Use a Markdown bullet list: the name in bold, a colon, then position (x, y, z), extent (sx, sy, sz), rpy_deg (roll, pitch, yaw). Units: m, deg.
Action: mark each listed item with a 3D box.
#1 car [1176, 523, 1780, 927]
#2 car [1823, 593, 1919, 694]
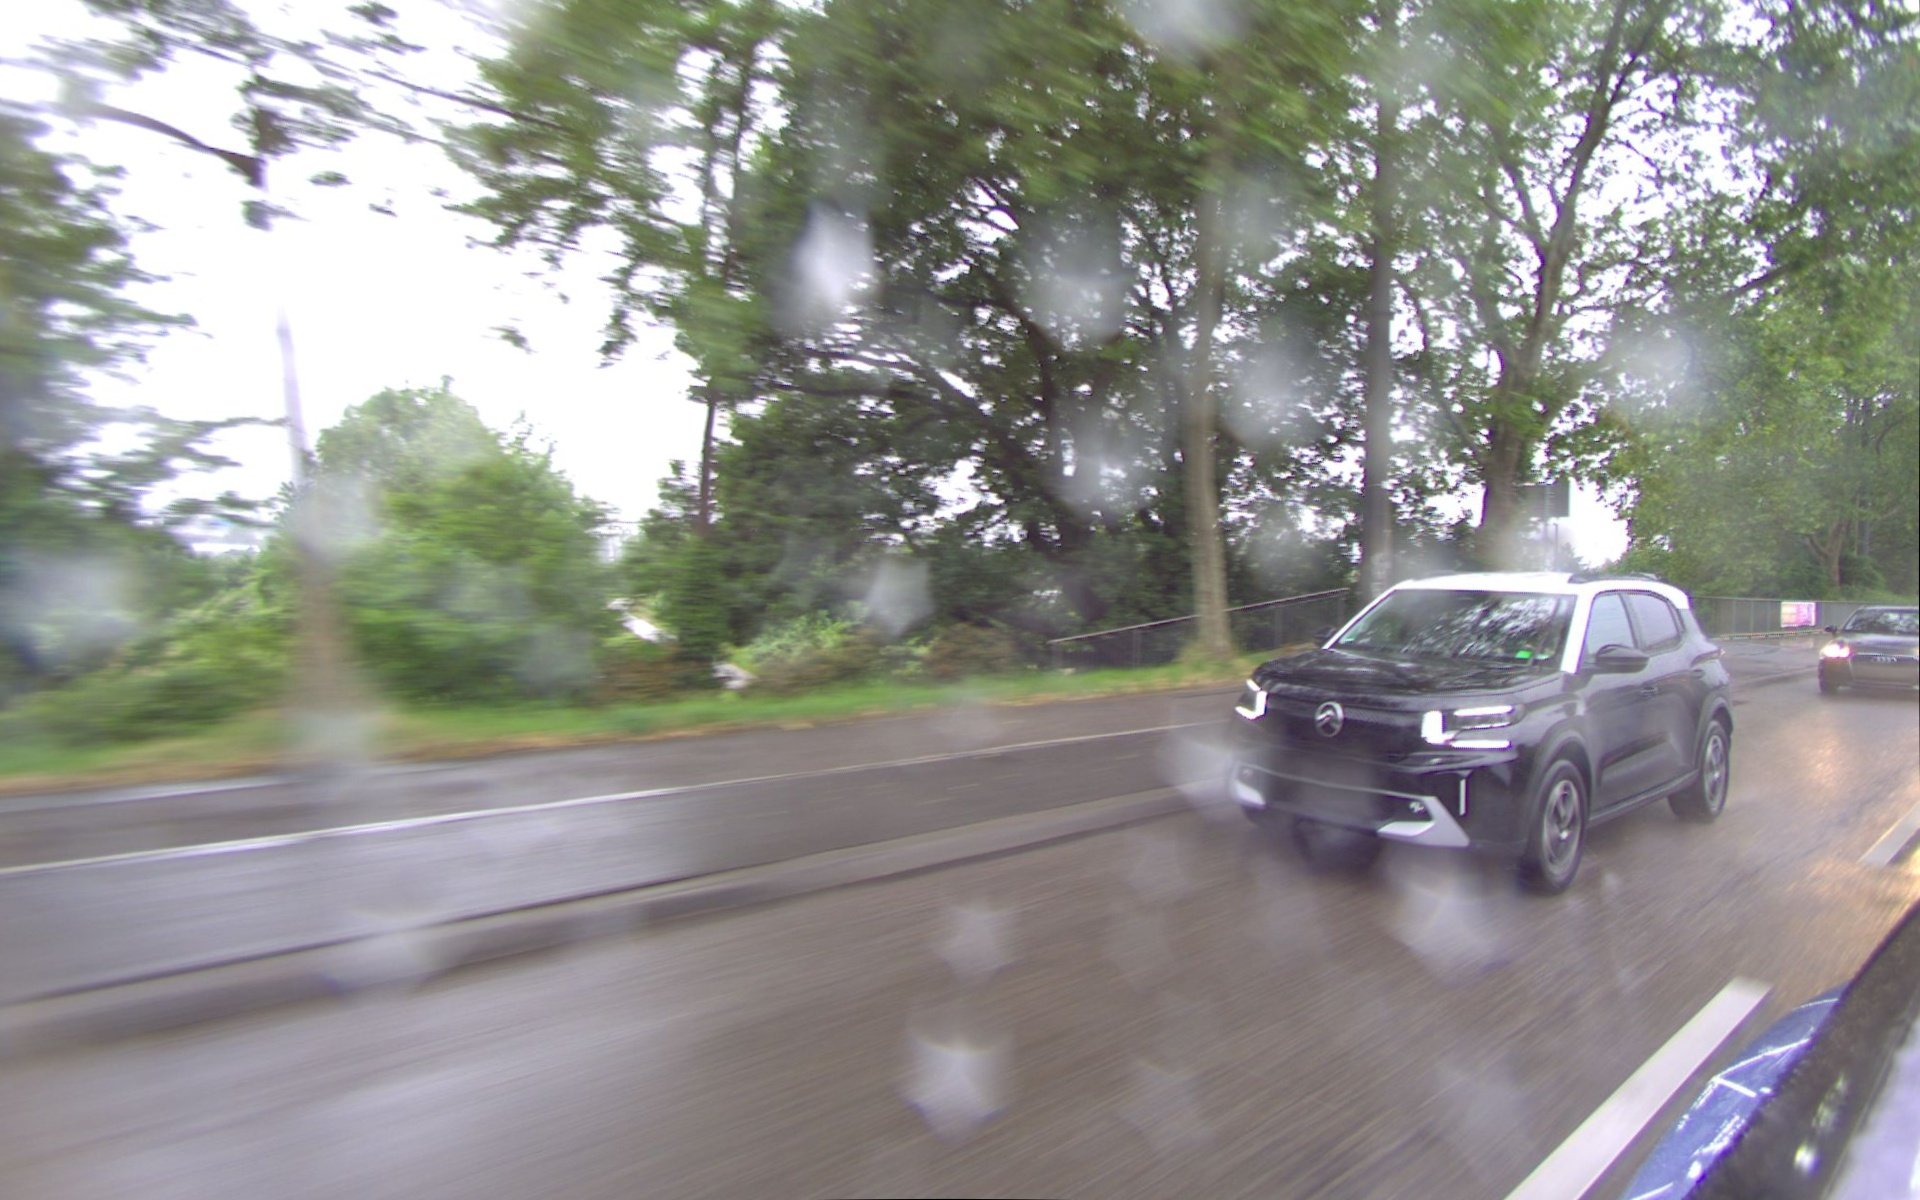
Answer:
- **car**: position (3.585, 0.550, 6.528), extent (4.678, 1.724, 1.796), rpy_deg (1, 0, -40)
- **car**: position (15.253, 0.657, 16.017), extent (3.929, 1.445, 1.783), rpy_deg (1, 1, -40)
